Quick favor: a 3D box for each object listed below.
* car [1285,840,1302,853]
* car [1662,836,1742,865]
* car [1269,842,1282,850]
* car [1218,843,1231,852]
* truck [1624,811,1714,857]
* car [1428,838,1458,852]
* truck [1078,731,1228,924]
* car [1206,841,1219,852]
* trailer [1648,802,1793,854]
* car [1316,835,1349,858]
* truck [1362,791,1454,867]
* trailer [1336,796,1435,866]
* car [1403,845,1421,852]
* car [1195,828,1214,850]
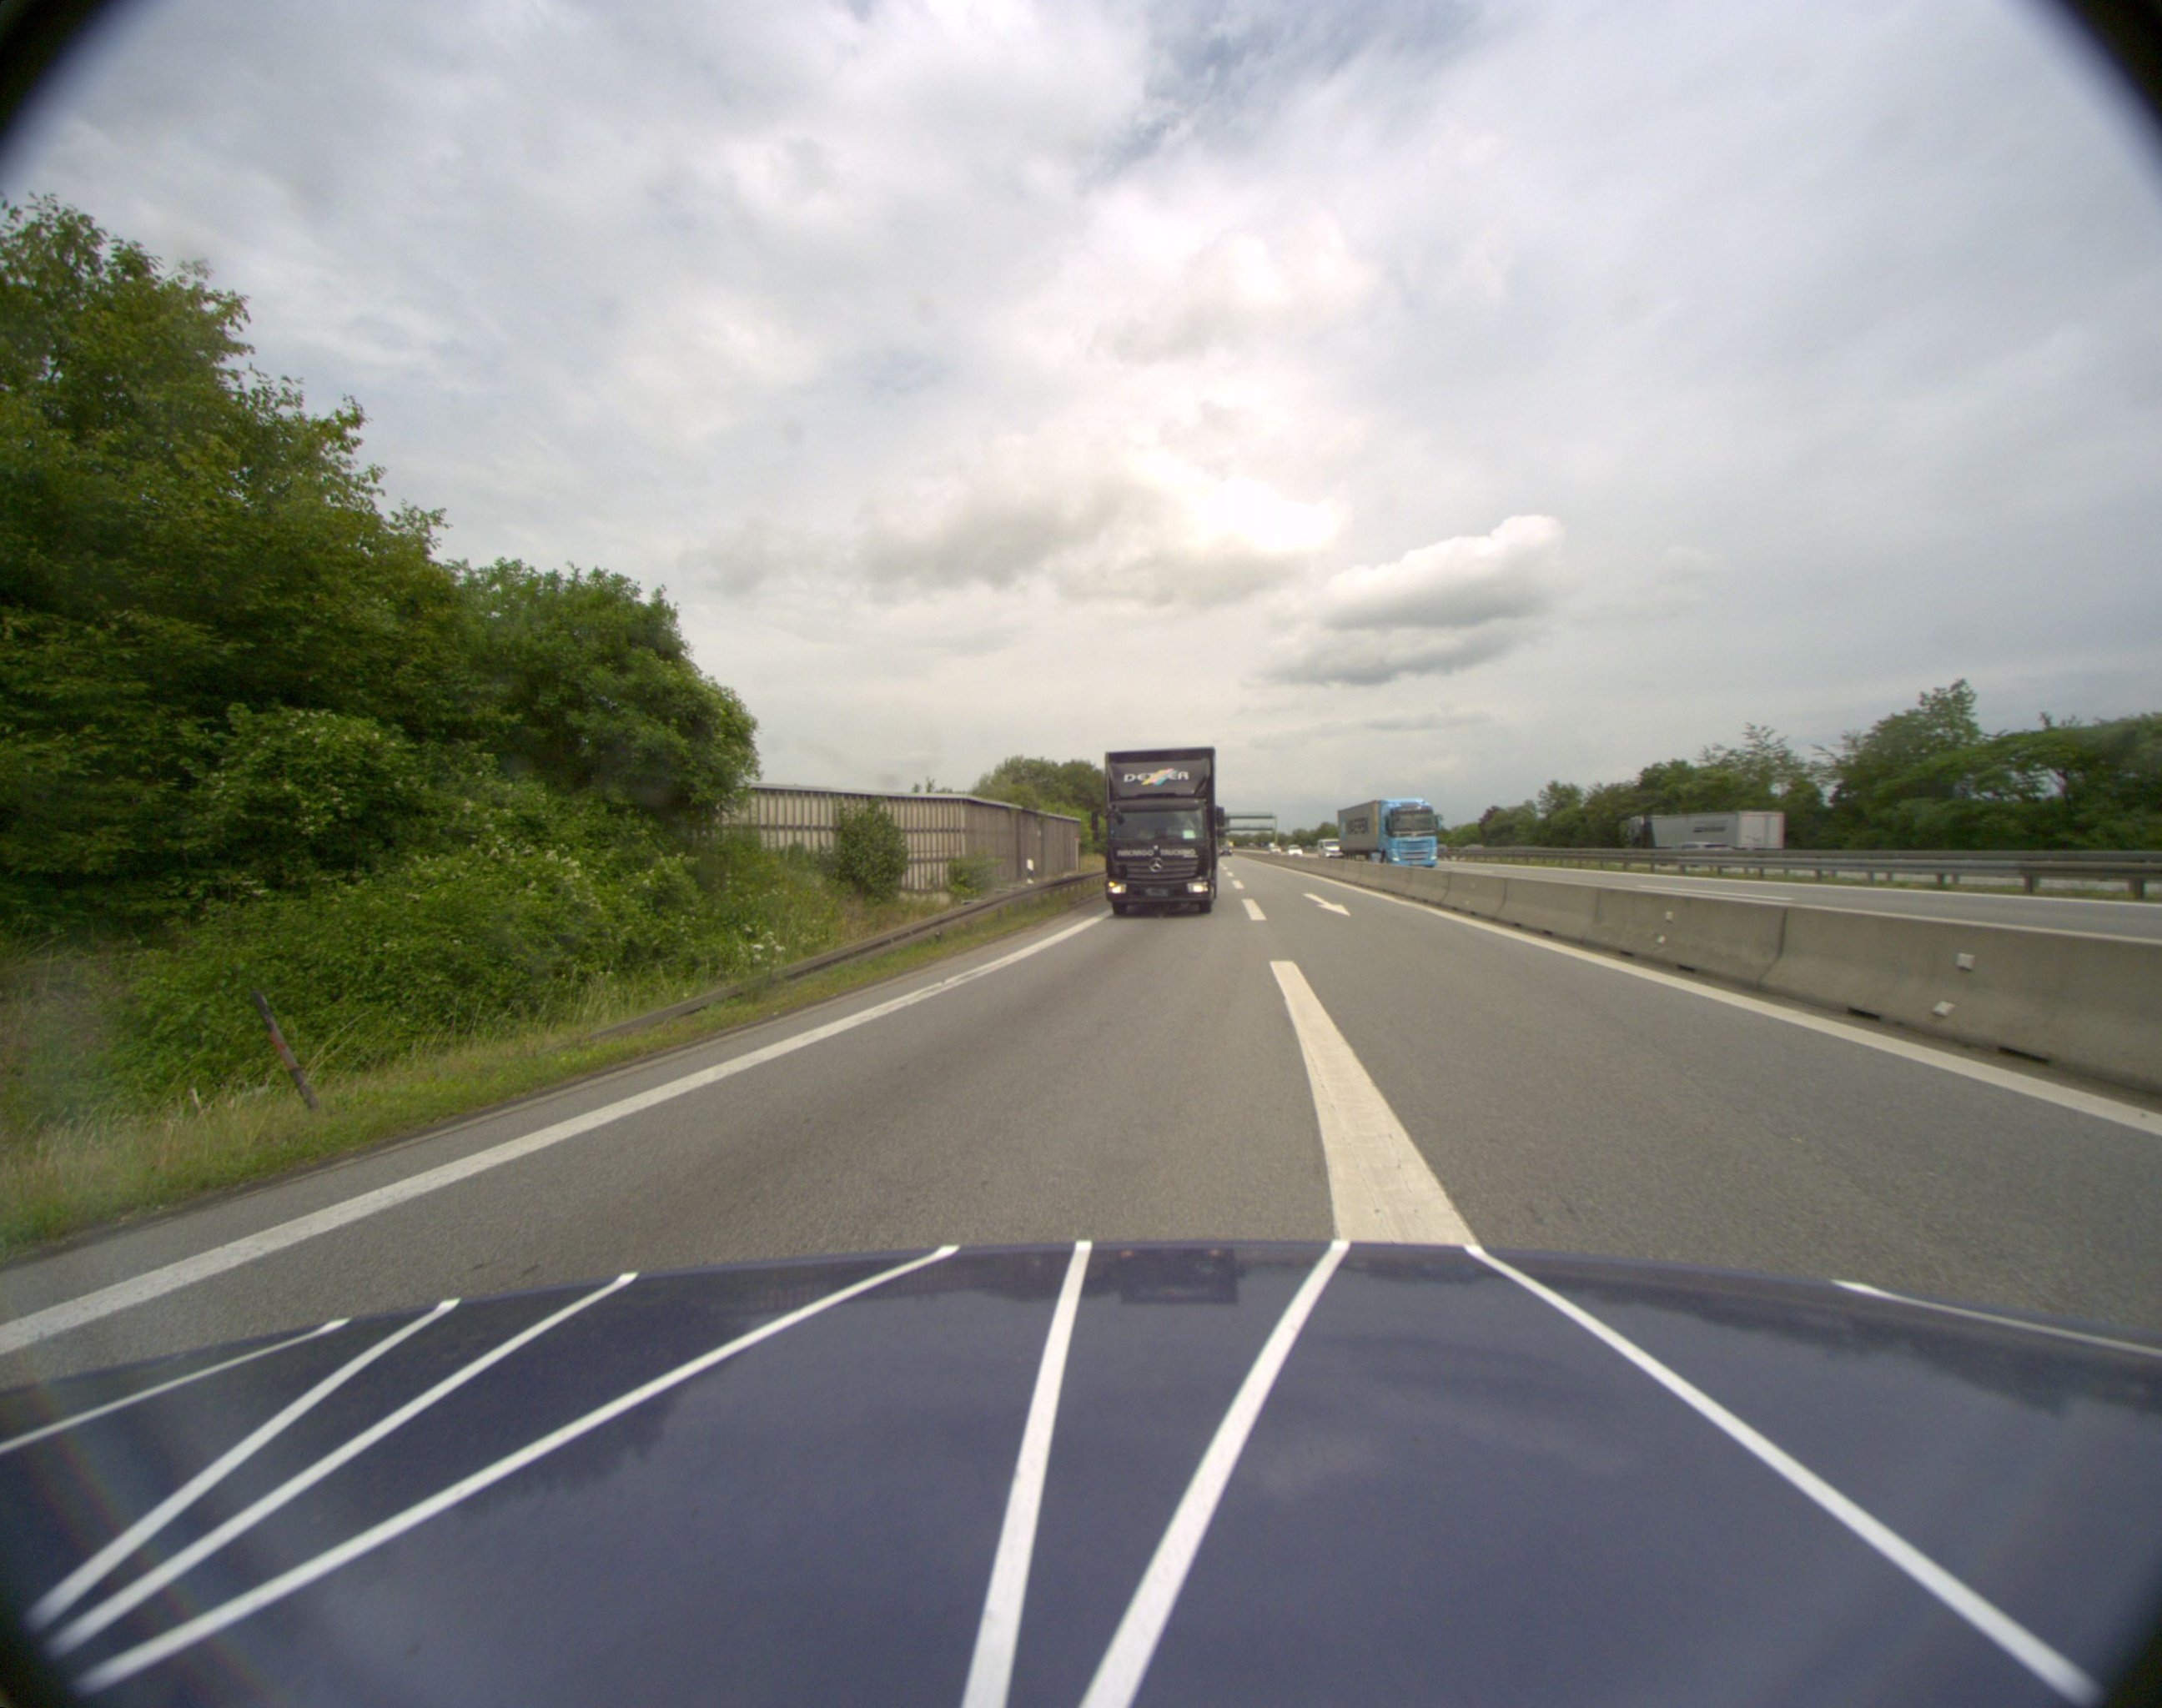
[{"bbox_3d":[26.039,-0.915,93.084,1.683,1.476,3.777,-2,0,11],"label":"car"},{"bbox_3d":[34.491,-0.197,42.357,1.690,1.476,4.007,-2,1,10],"label":"car"},{"bbox_3d":[35.493,-1.478,138.936,1.755,1.361,4.207,-1,1,8],"label":"car"},{"bbox_3d":[23.063,-1.024,122.393,1.864,1.434,4.002,-2,1,8],"label":"car"},{"bbox_3d":[45.540,-1.525,59.062,3.156,3.311,5.625,-2,1,9],"label":"truck"},{"bbox_3d":[36.010,-0.911,75.691,1.755,1.361,4.003,-1,1,11],"label":"car"},{"bbox_3d":[2.368,-0.605,21.062,3.022,3.932,10.346,-2,1,10],"label":"truck"},{"bbox_3d":[20.555,-1.182,118.958,1.784,1.761,4.003,-2,1,12],"label":"car"},{"bbox_3d":[44.700,-1.742,53.669,3.203,3.250,9.829,-1,1,9],"label":"trailer"},{"bbox_3d":[22.846,-0.679,69.191,2.003,1.927,5.134,-2,1,9],"label":"car"},{"bbox_3d":[18.395,-1.352,43.207,3.252,3.889,6.613,-2,1,9],"label":"truck"},{"bbox_3d":[19.514,-1.449,49.777,3.242,3.902,12.386,-2,1,9],"label":"trailer"},{"bbox_3d":[56.944,-0.917,130.796,1.690,1.186,4.006,-1,1,8],"label":"car"},{"bbox_3d":[25.616,-3.101,157.351,3.392,4.458,11.615,-1,1,12],"label":"car"}]
